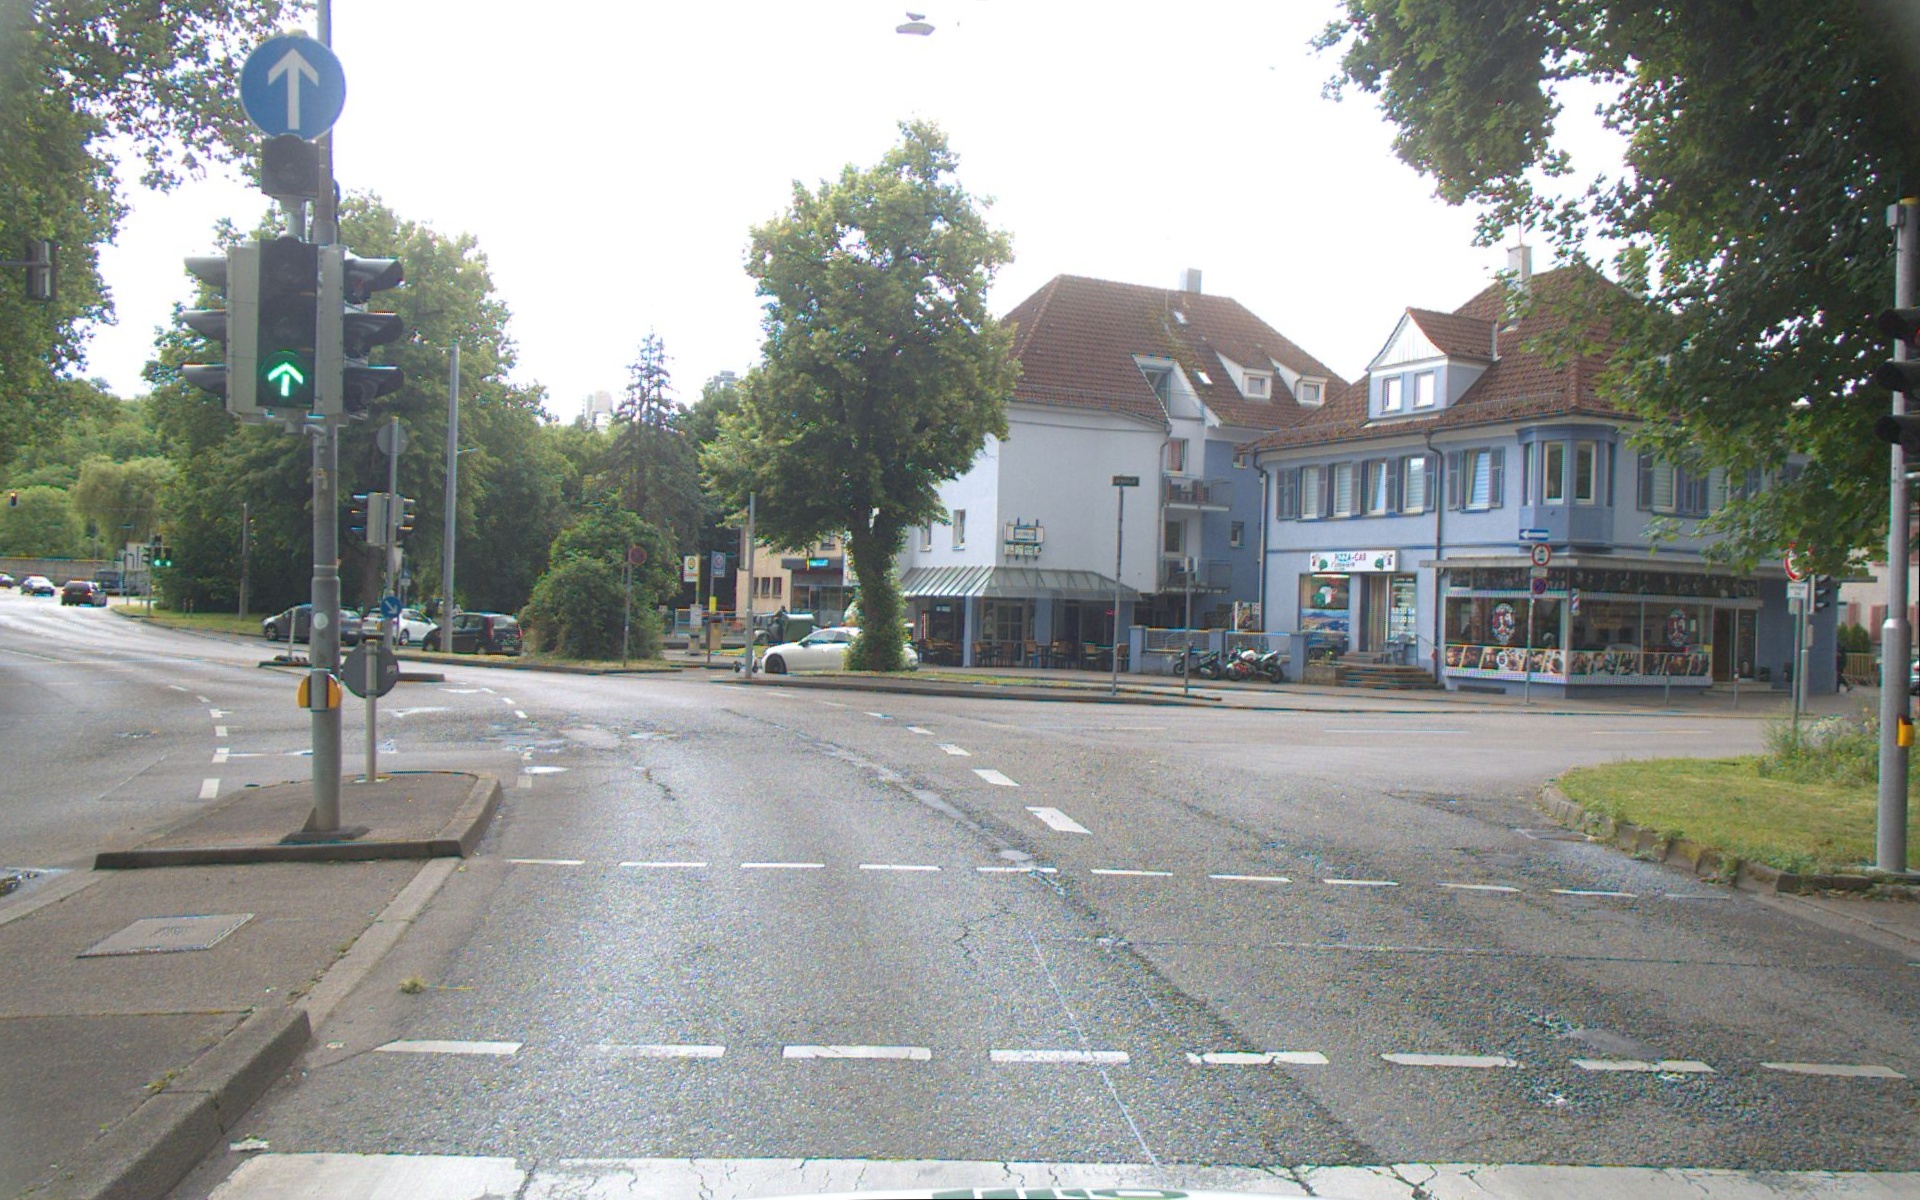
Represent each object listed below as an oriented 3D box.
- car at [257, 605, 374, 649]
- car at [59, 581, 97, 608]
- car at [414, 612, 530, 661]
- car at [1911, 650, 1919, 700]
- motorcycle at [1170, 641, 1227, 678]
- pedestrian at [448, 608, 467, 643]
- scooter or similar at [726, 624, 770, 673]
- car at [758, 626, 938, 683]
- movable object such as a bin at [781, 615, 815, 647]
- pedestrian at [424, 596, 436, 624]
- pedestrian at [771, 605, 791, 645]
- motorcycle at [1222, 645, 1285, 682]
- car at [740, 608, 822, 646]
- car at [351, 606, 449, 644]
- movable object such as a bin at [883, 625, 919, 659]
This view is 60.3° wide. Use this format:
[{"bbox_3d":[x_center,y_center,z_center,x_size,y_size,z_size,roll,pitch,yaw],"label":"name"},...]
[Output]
[{"bbox_3d":[-24.655,1.014,63.294,4.016,1.454,1.733,3,0,22],"label":"car"},{"bbox_3d":[-53.183,-0.334,99.679,1.803,1.536,4.527,2,-1,-30],"label":"car"},{"bbox_3d":[-15.592,1.161,52.876,3.417,1.429,1.571,2,0,28],"label":"car"},{"bbox_3d":[30.083,2.297,50.741,1.537,1.488,3.433,1,-1,30],"label":"car"},{"bbox_3d":[7.150,1.783,49.637,1.695,1.049,0.486,0,-1,43],"label":"motorcycle"},{"bbox_3d":[-23.286,1.189,76.617,0.677,1.578,0.734,2,-1,-32],"label":"pedestrian"},{"bbox_3d":[-5.378,1.249,42.015,0.403,1.187,1.361,1,-3,25],"label":"scooter or similar"},{"bbox_3d":[-3.075,1.449,44.989,4.690,1.411,1.993,0,-1,35],"label":"car"},{"bbox_3d":[-7.176,1.376,73.226,1.204,1.368,0.984,1,-1,-32],"label":"movable object such as a bin"},{"bbox_3d":[-29.517,0.573,92.137,0.503,1.558,0.773,2,-1,-22],"label":"pedestrian"},{"bbox_3d":[-8.031,1.128,74.036,0.680,1.760,0.605,1,-1,-32],"label":"pedestrian"},{"bbox_3d":[8.481,1.831,47.784,1.791,1.003,0.518,0,-1,43],"label":"motorcycle"},{"bbox_3d":[-8.121,1.240,75.188,3.370,1.659,1.611,1,-1,-26],"label":"car"},{"bbox_3d":[-22.303,1.019,66.007,1.721,1.405,4.265,2,-1,12],"label":"car"},{"bbox_3d":[-2.486,1.757,69.765,1.197,1.420,1.153,1,-1,-22],"label":"movable object such as a bin"}]
